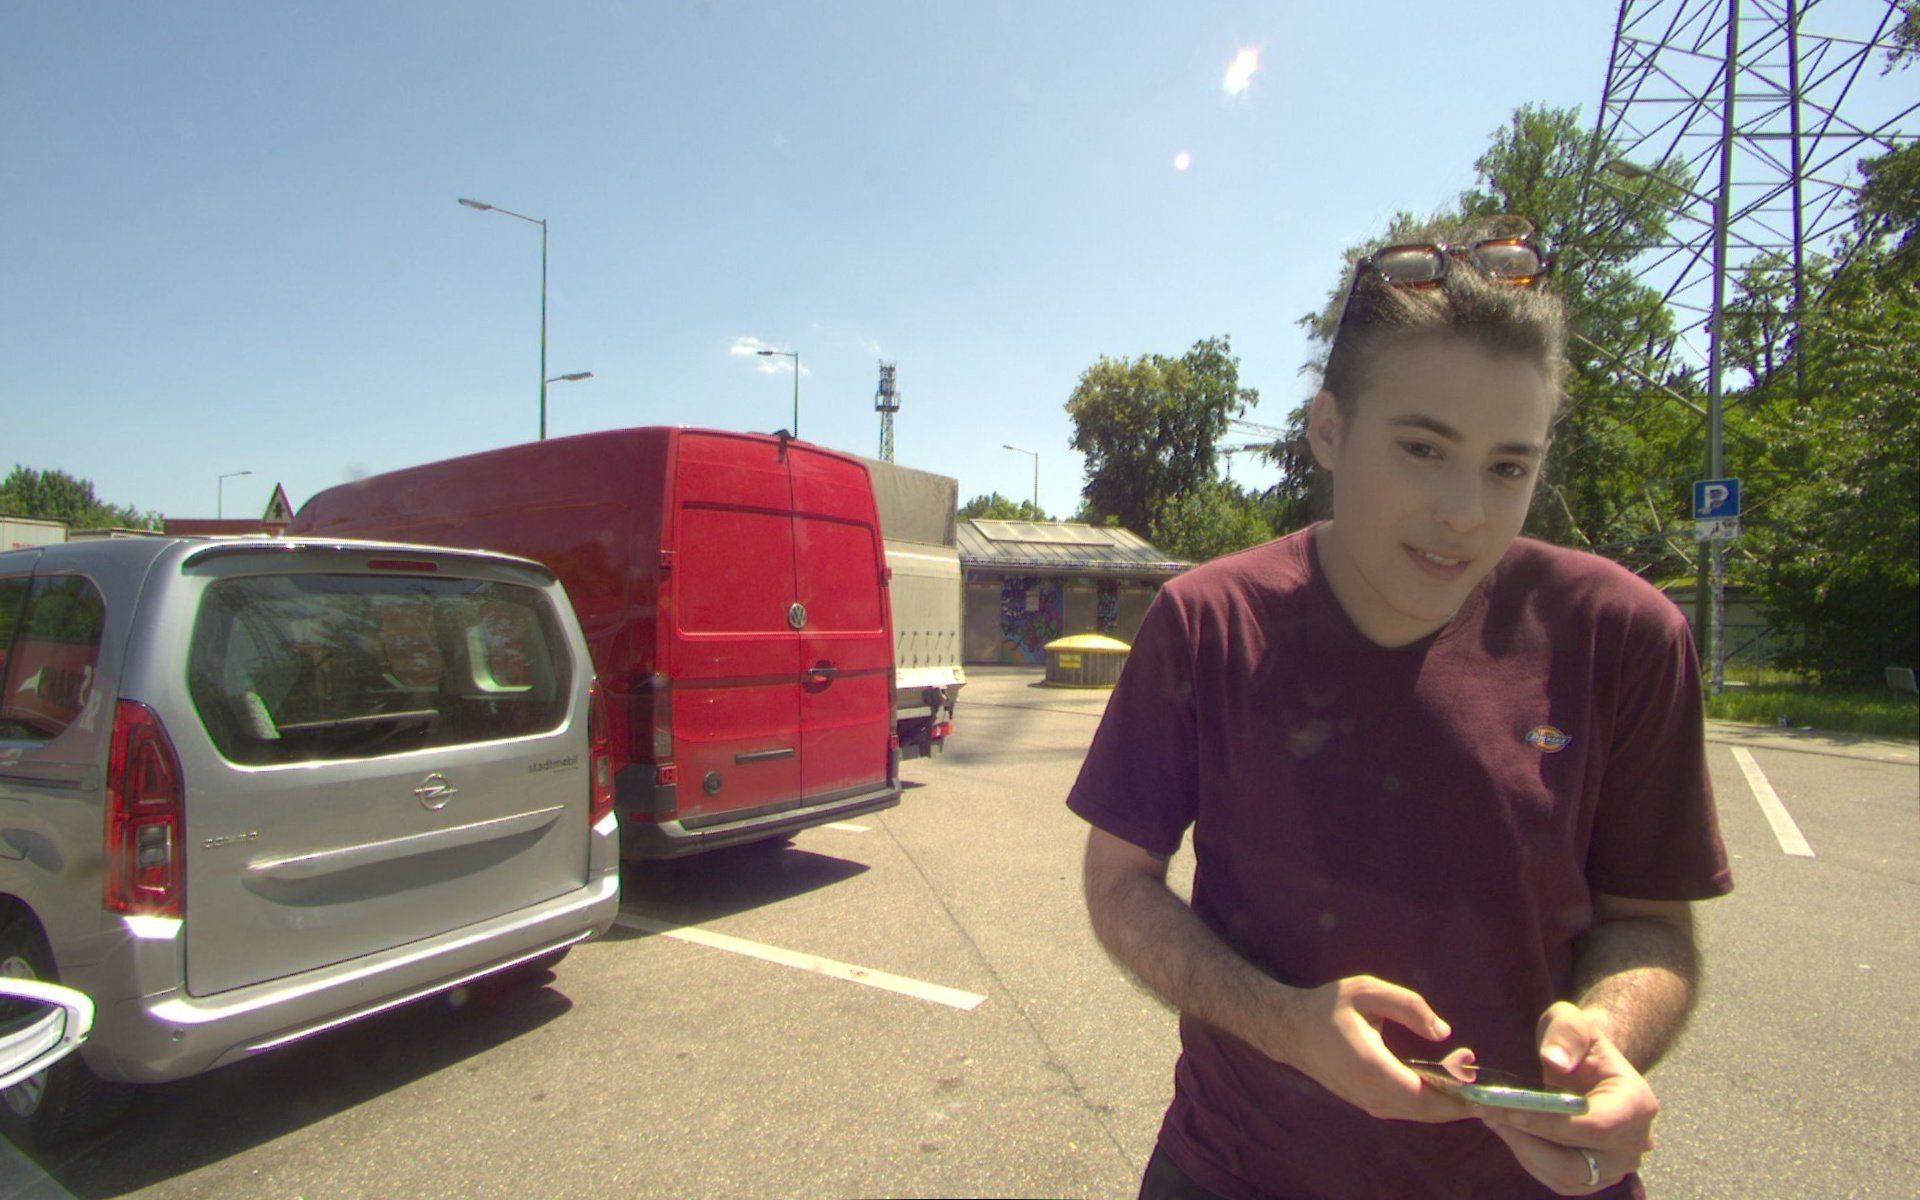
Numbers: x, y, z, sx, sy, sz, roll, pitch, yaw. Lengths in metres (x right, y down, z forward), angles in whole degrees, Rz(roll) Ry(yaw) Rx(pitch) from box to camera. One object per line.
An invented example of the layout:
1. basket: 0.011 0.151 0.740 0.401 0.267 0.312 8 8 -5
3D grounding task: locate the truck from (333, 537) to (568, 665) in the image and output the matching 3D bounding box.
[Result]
1. truck: -18.860 0.150 38.264 2.641 4.181 10.606 1 -1 6

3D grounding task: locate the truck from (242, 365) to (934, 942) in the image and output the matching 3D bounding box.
1. truck: -2.857 0.269 6.990 5.233 2.658 1.987 0 -1 37

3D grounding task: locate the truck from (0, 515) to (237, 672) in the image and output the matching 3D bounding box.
1. truck: -27.984 -0.120 31.778 14.316 4.175 2.901 0 -3 33

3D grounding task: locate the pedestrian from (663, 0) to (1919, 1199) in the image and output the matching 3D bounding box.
1. pedestrian: 0.377 0.469 0.895 0.926 1.798 0.827 1 -1 28

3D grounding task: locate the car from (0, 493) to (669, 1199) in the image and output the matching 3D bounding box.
1. car: -3.343 0.643 4.205 3.938 1.776 1.824 0 -1 29

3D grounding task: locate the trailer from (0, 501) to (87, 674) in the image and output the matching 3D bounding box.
1. trailer: -28.790 -0.318 28.024 13.374 4.178 2.871 0 -1 33

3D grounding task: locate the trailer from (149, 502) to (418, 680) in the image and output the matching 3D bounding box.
1. trailer: -18.936 -0.123 28.910 2.789 4.313 8.683 1 -1 -8

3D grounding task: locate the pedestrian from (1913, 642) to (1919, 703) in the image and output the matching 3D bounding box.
1. pedestrian: 17.233 1.282 17.407 0.797 1.062 0.712 0 -1 30
